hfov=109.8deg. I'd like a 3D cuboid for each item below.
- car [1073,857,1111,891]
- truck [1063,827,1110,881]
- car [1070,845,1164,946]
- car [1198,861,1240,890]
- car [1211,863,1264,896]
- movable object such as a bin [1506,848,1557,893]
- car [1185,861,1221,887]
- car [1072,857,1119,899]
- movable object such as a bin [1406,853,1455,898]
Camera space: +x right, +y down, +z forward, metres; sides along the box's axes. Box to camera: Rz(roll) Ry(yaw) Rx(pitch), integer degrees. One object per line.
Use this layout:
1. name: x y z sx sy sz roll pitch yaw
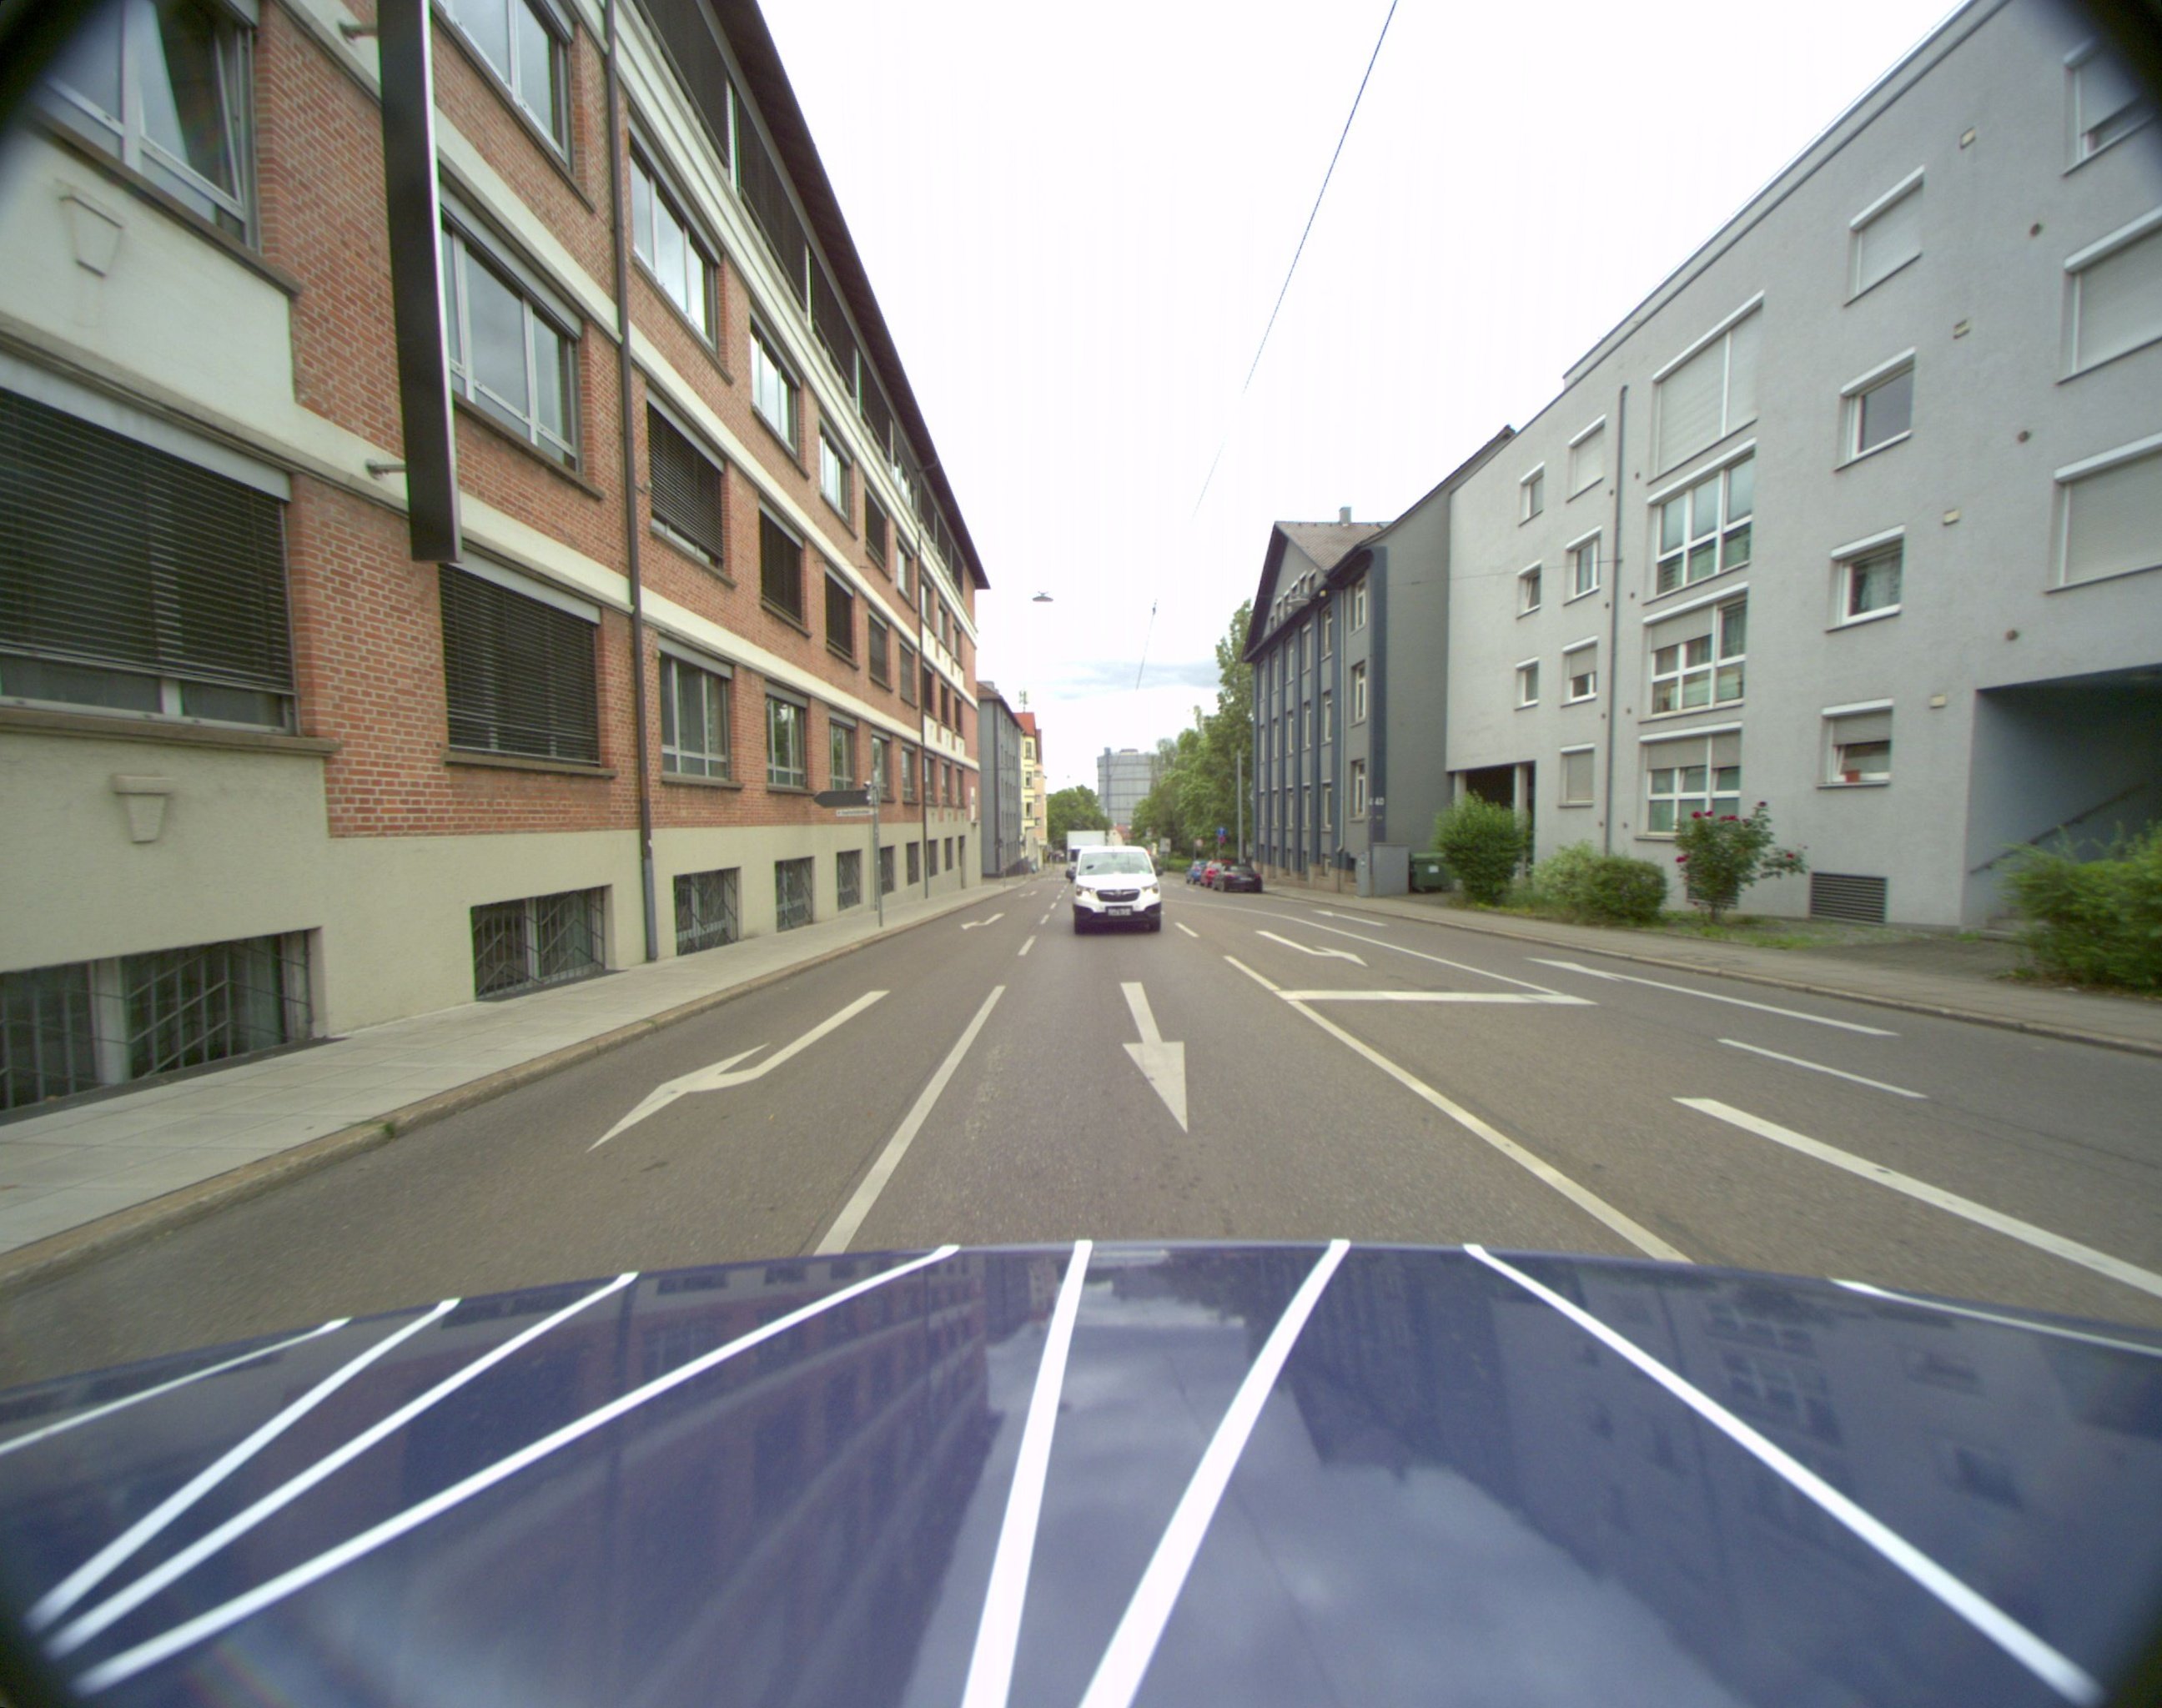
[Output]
1. car: 0.546 0.952 38.215 1.739 1.519 4.000 -2 0 1
2. truck: 0.416 -0.020 53.474 2.969 3.408 8.879 -2 0 1
3. car: 0.717 0.795 16.582 1.739 1.875 4.000 -2 0 1
4. car: 7.569 1.153 42.003 1.644 1.441 3.729 -2 0 1
5. car: 7.345 1.172 35.999 1.801 1.384 3.729 0 0 1
6. movable object such as a bin: 14.854 0.528 25.090 1.039 1.408 1.078 -2 1 0
7. car: 7.617 1.219 47.632 1.644 1.441 3.729 -2 0 1
8. car: 0.565 0.931 31.031 1.739 1.519 4.000 -2 0 1
9. movable object such as a bin: 12.296 0.739 26.786 1.229 1.497 1.040 -2 1 1
